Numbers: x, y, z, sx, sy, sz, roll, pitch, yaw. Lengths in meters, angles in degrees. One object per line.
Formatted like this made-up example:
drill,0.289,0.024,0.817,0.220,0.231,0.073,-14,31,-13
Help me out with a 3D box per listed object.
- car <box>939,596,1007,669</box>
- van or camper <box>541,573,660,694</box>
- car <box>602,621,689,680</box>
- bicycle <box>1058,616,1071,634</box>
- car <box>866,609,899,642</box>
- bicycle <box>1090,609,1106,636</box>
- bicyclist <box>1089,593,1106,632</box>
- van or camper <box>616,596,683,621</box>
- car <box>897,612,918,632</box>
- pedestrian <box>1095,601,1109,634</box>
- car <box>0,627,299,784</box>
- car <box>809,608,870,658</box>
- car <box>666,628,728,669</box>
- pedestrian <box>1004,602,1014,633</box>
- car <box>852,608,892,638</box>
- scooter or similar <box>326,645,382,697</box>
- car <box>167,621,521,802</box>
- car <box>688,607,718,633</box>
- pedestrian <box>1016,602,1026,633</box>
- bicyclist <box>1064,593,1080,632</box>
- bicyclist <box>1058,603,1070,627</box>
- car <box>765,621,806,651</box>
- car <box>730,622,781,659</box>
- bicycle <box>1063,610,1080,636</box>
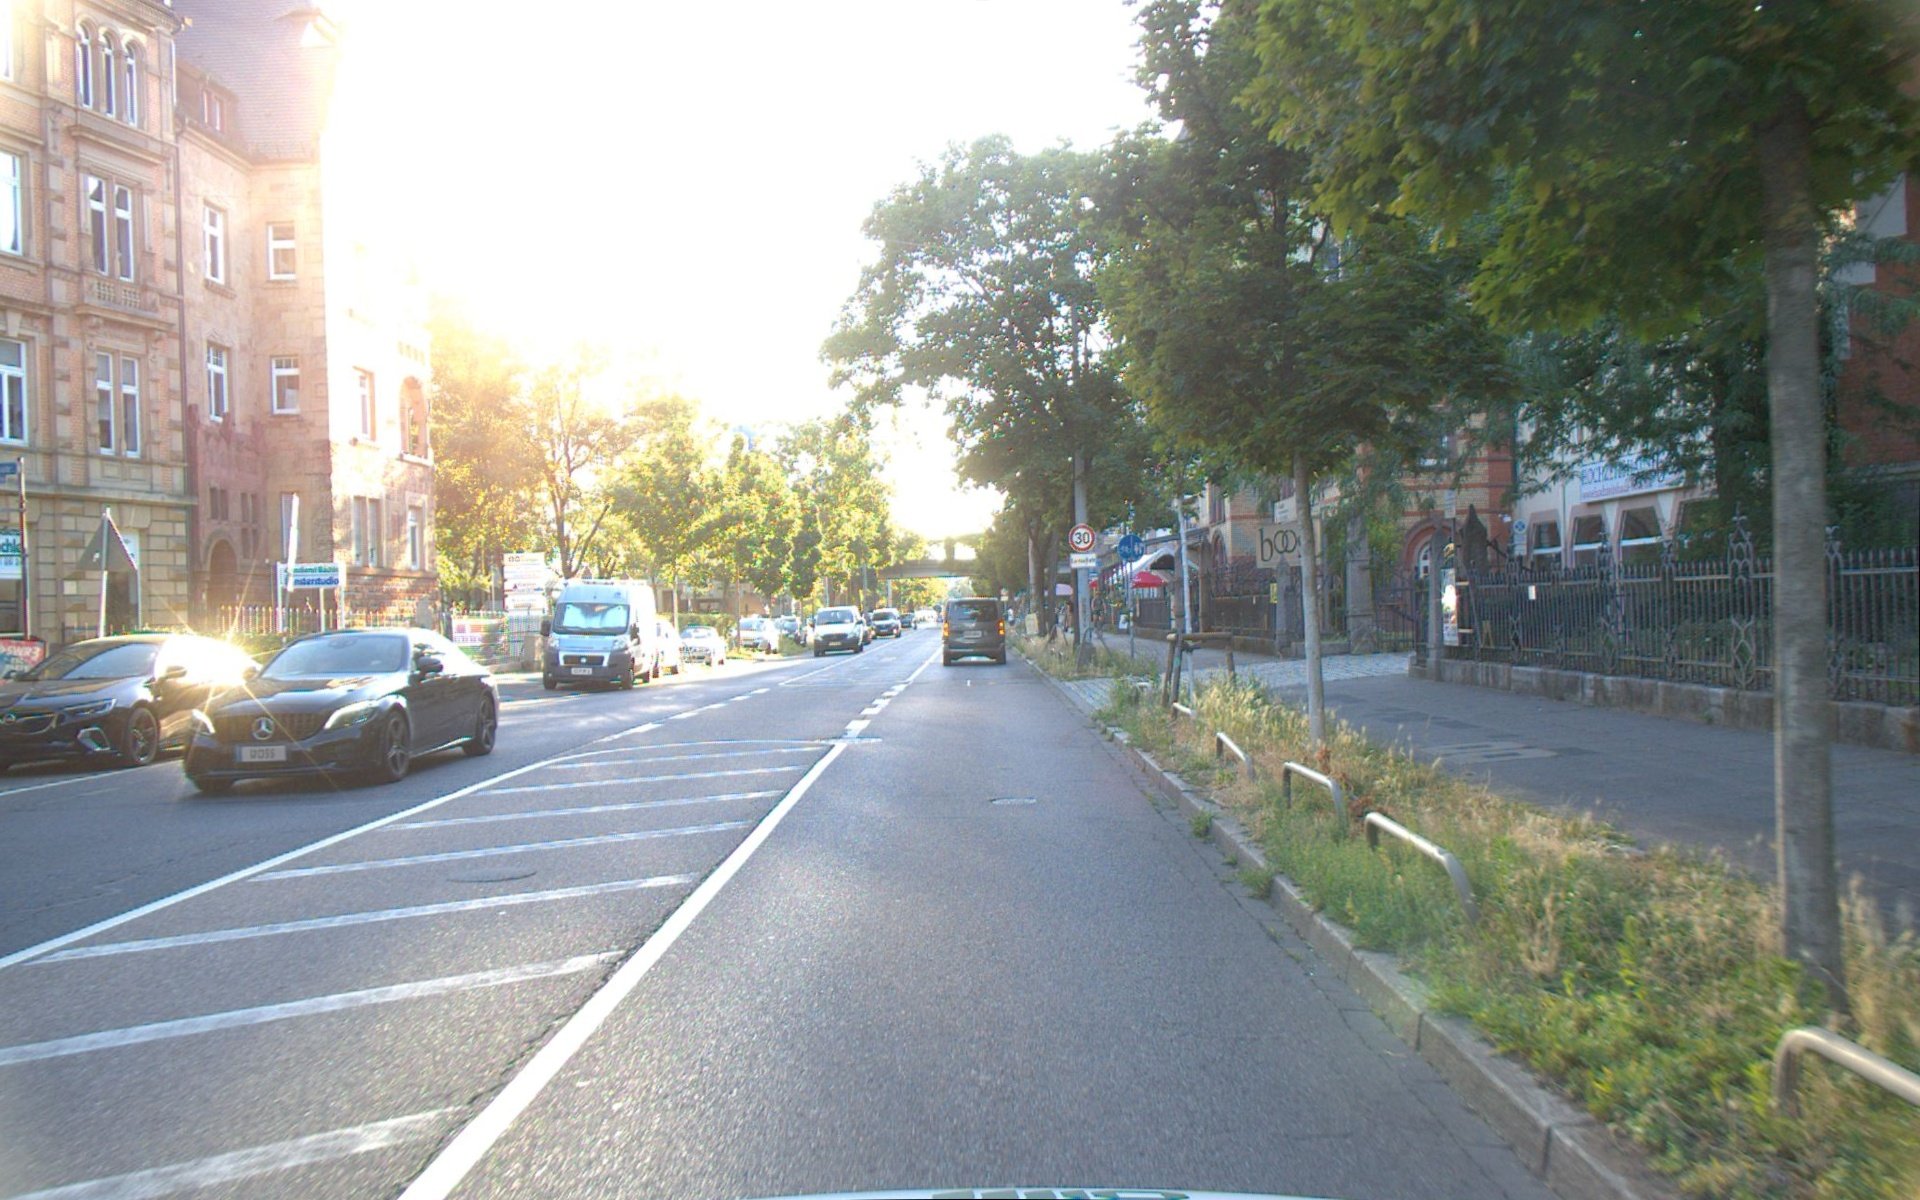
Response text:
car,0.406,0.922,48.776,1.848,1.958,3.840,-3,0,1
van or camper,-8.669,0.763,40.393,1.954,2.715,6.033,-1,0,-4
car,-8.969,1.422,47.472,1.710,1.561,4.302,-1,0,-1
bicycle,5.545,1.307,87.831,0.567,0.913,1.987,-1,0,1
car,-4.812,1.559,103.522,1.796,1.885,4.473,-4,0,-1
bicycle,5.602,0.916,67.240,0.506,1.058,2.089,-1,0,0
bicyclist,5.595,0.518,67.249,0.583,1.559,0.893,-1,-1,0
van or camper,-32.145,0.872,171.194,6.430,2.566,2.448,-1,0,-1
car,-4.683,1.939,147.264,1.645,1.556,4.000,-4,0,0
pedestrian,7.118,0.870,83.112,0.631,1.662,0.656,-1,-1,1
car,-9.786,1.150,19.549,1.953,1.509,4.829,-3,0,0
car,-4.956,1.331,68.583,1.953,1.863,5.170,-4,0,1
car,-8.651,1.581,54.636,1.504,1.270,3.613,-1,0,-1
pedestrian,3.087,1.083,103.750,0.496,1.922,0.543,0,-1,-14
car,-4.497,1.160,85.222,1.723,1.410,4.304,-4,0,0
scooter or similar,-13.500,1.570,36.840,0.283,1.075,1.111,-4,0,42
car,-5.883,0.984,16.456,1.730,1.426,4.545,-3,0,1
car,-23.817,1.803,153.468,1.952,2.348,5.245,-1,0,1
pedestrian,3.828,1.087,103.455,0.496,1.922,0.543,0,-1,-14
bicyclist,4.613,0.517,68.291,0.583,1.559,0.893,-1,-1,0
bicyclist,5.544,0.802,87.904,0.573,1.258,1.112,-1,0,0
car,-8.633,1.776,82.084,1.604,1.410,3.999,-1,0,-1
car,-8.560,1.683,69.511,1.662,1.477,3.999,-1,0,-1
bicycle,4.601,0.932,68.272,0.533,1.058,2.089,-1,0,0
